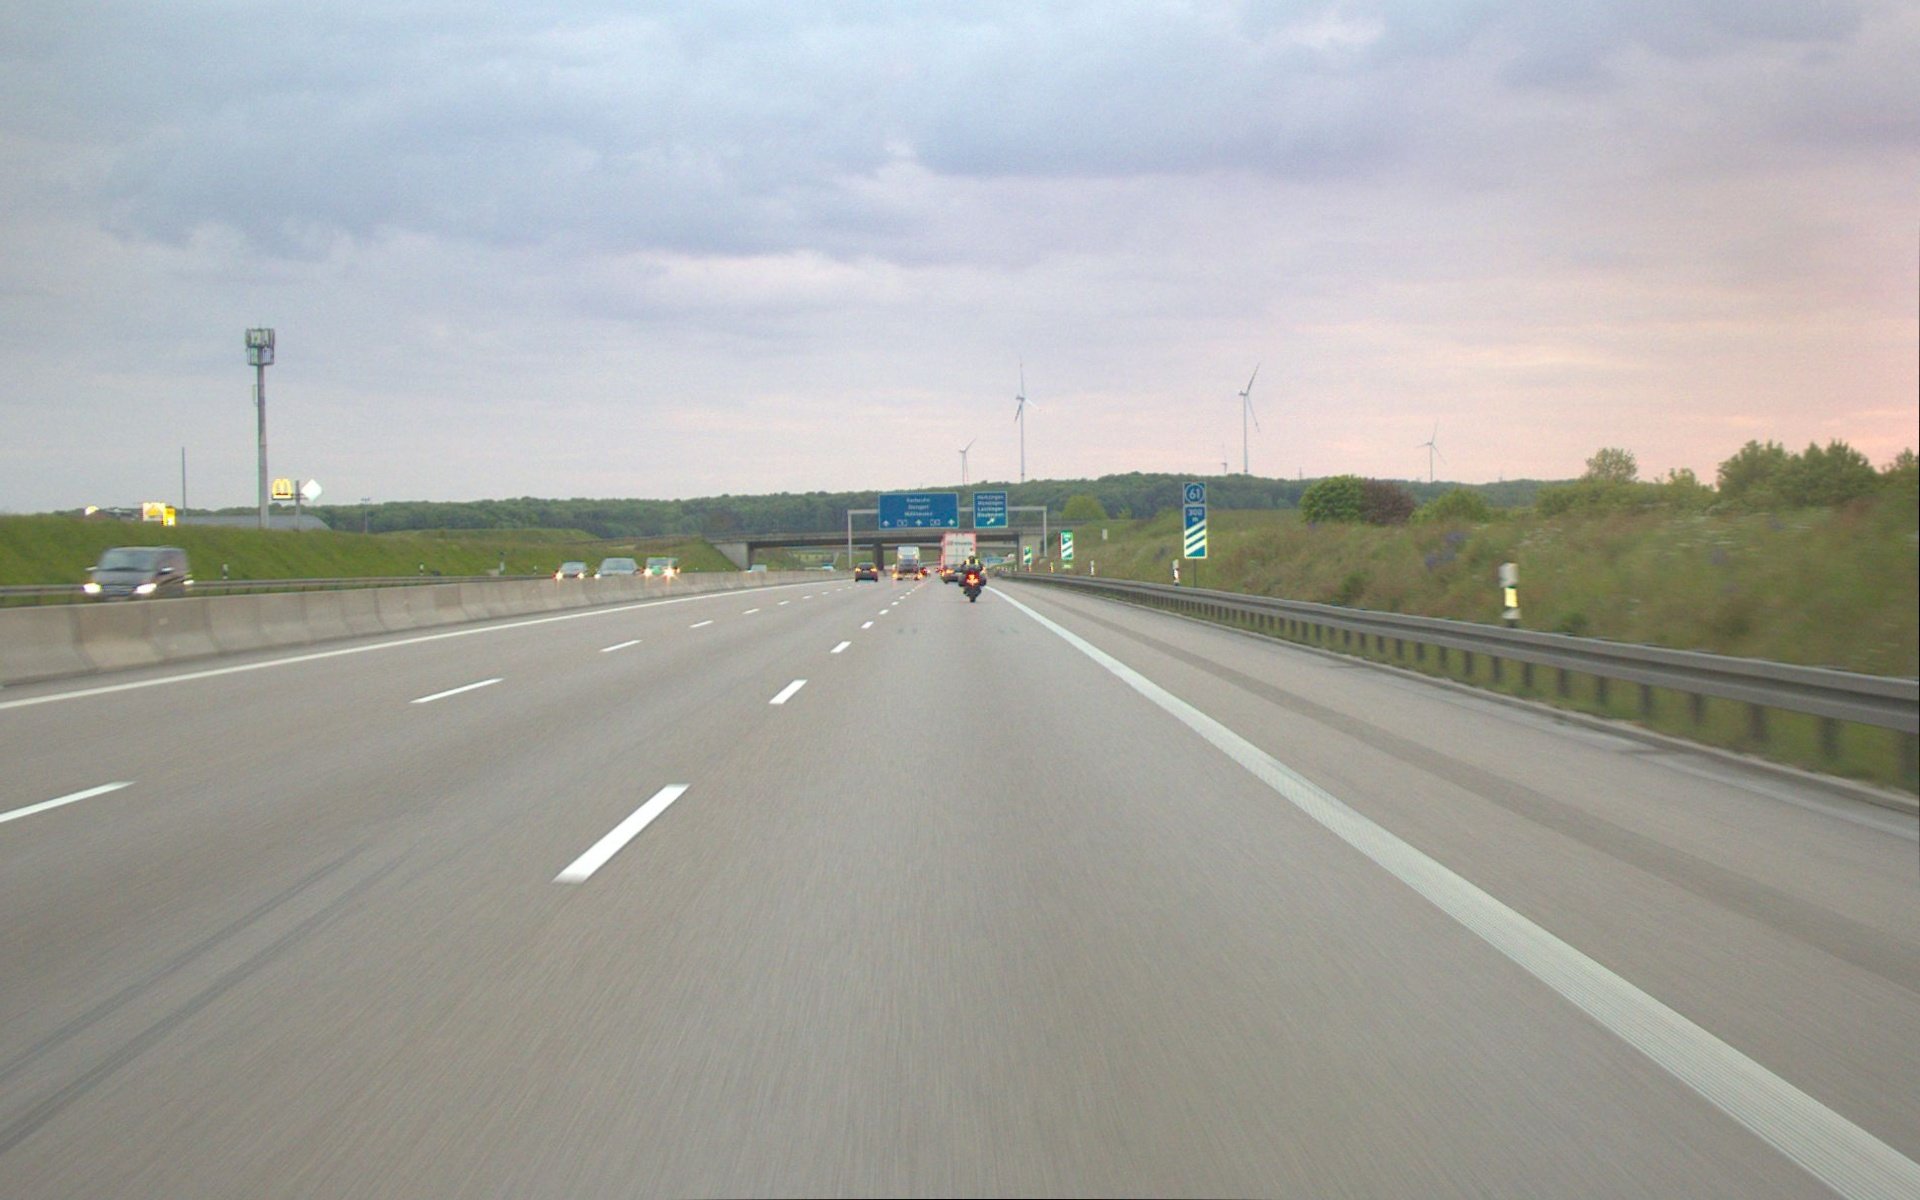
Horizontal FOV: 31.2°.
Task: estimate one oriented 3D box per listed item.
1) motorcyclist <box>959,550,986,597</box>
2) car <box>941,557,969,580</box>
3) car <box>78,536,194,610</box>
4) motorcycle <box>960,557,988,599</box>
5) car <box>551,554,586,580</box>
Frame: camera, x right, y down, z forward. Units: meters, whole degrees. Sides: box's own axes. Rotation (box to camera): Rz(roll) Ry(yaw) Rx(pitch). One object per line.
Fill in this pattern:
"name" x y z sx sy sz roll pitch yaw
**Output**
"motorcyclist" 0.412 -0.871 112.655 0.866 1.482 1.168 1 1 1
"car" -0.372 -2.191 239.909 1.918 1.574 4.000 0 1 -1
"car" -22.591 -0.768 94.474 1.993 1.930 5.090 1 1 -1
"motorcycle" 0.448 -0.721 112.664 0.902 1.342 2.349 0 2 0
"car" -23.479 -1.970 206.351 1.630 1.512 4.427 0 1 -1
